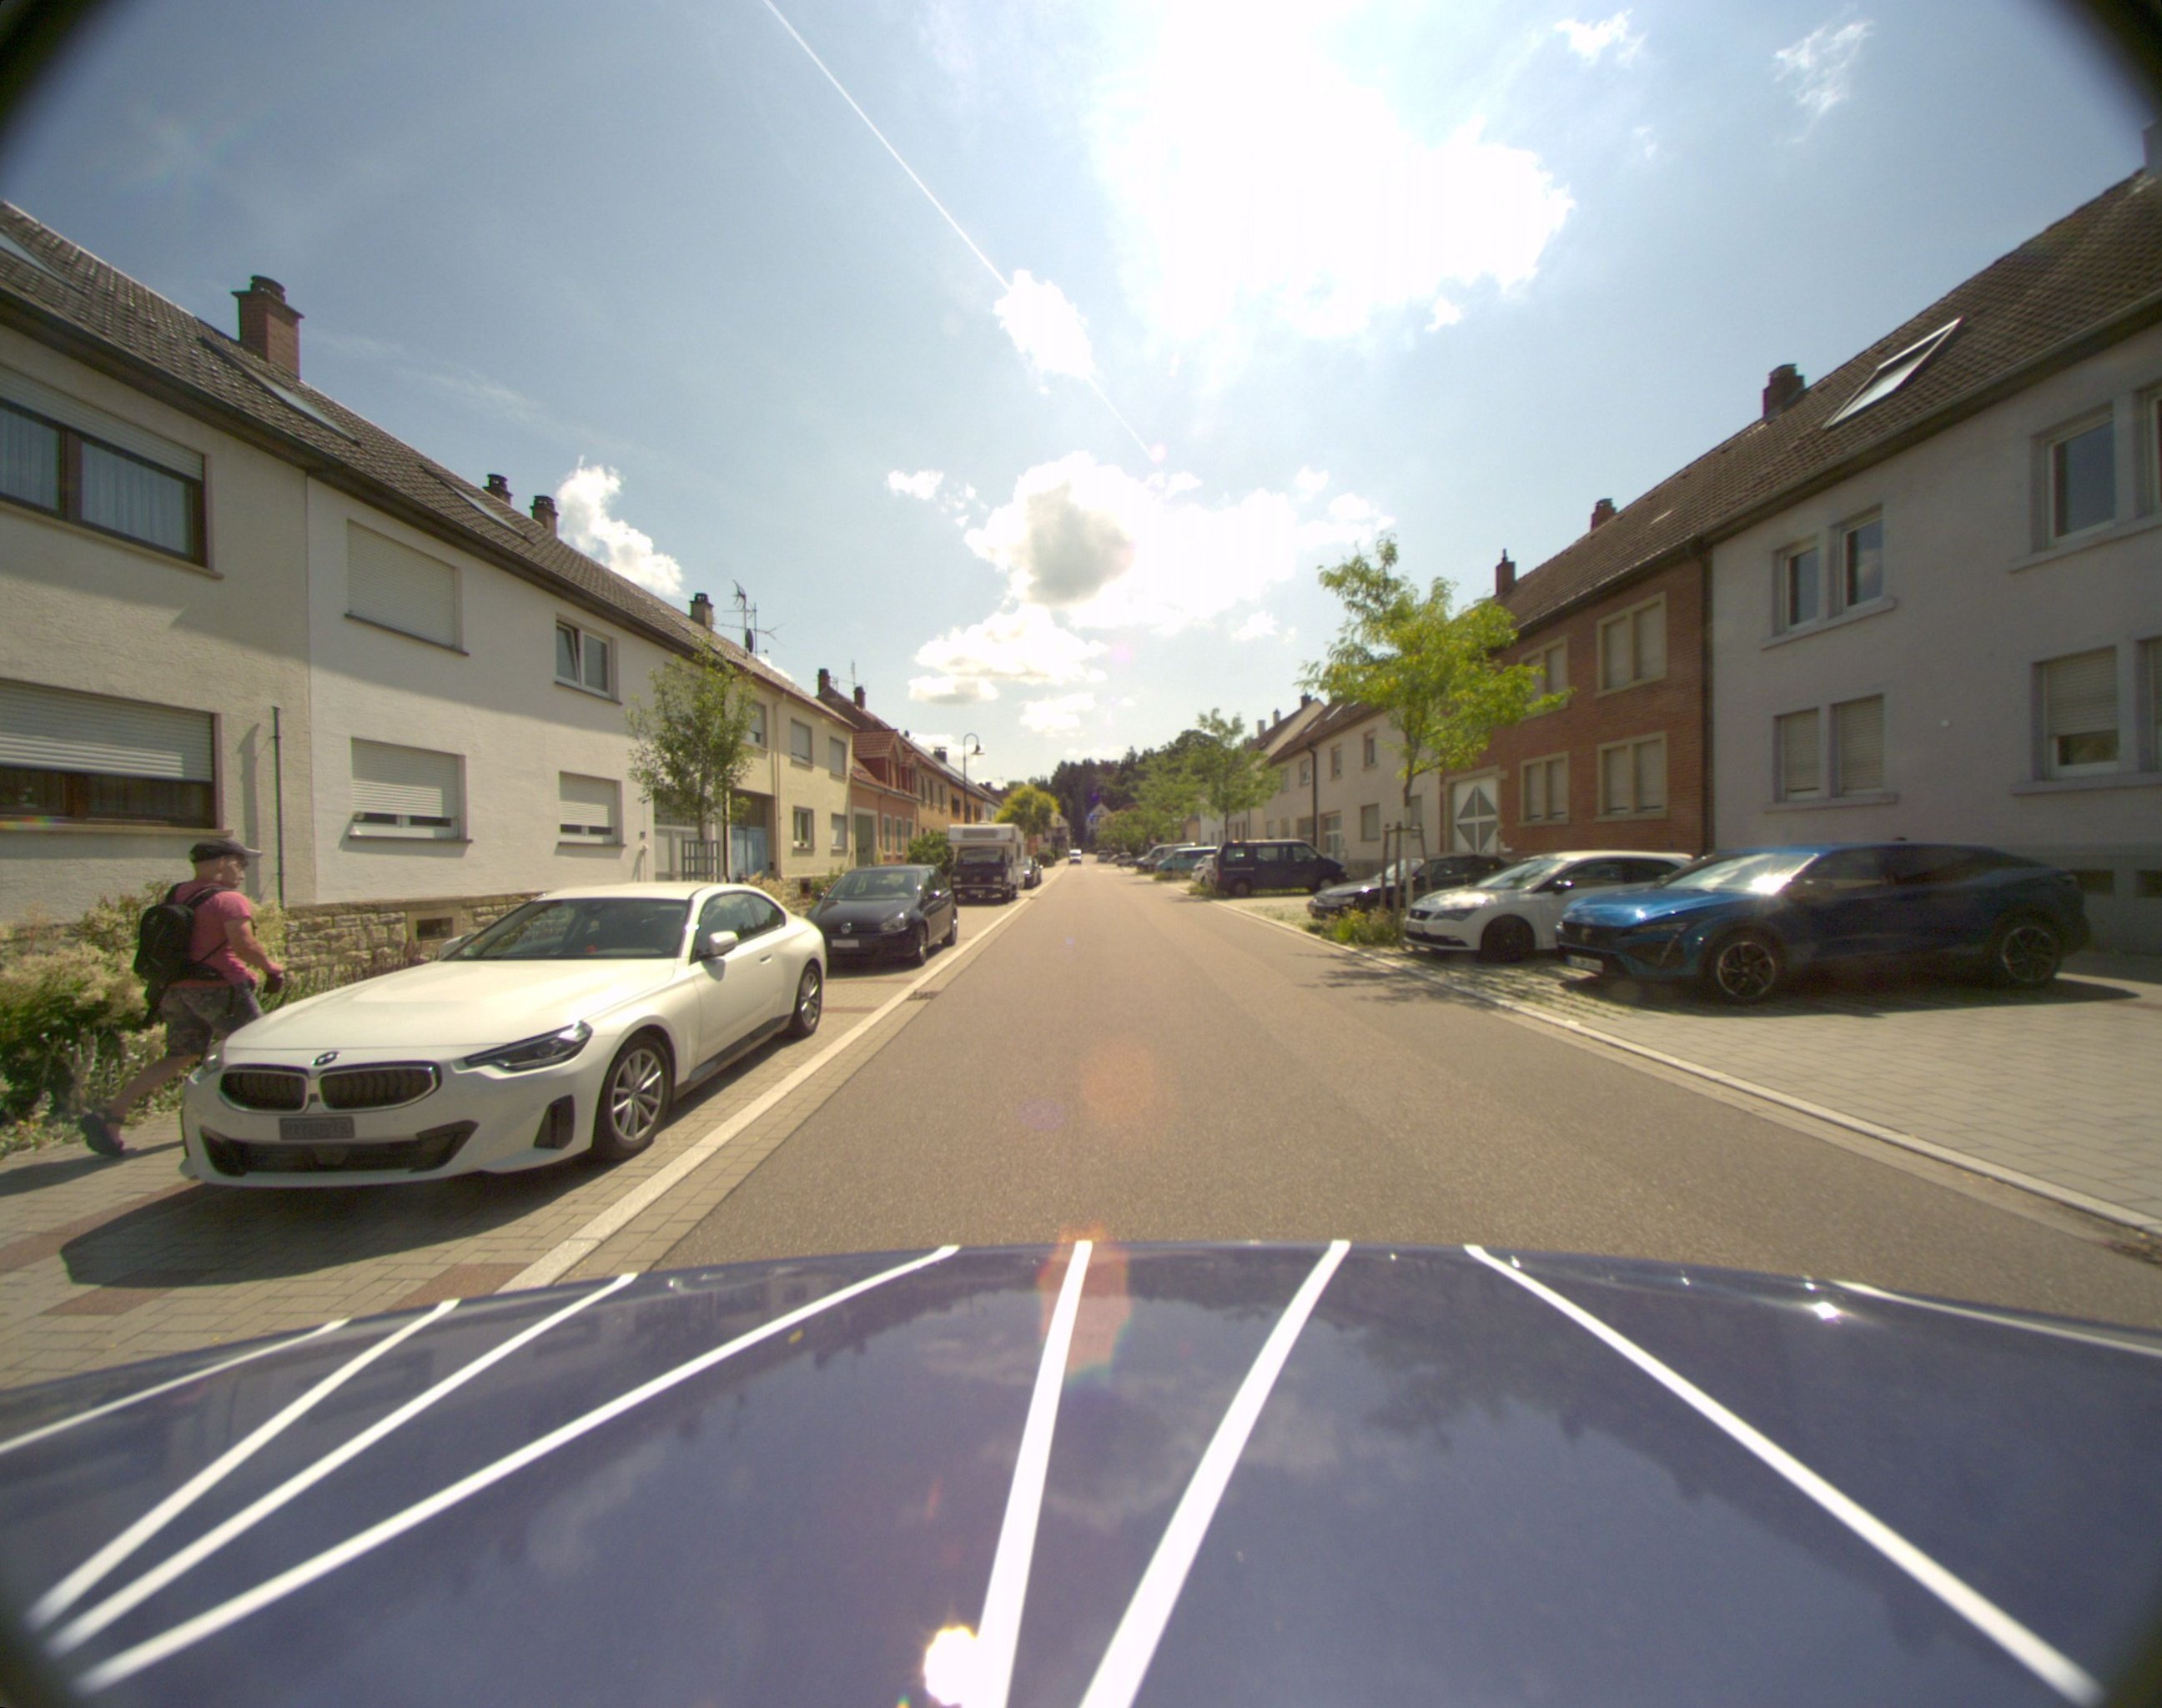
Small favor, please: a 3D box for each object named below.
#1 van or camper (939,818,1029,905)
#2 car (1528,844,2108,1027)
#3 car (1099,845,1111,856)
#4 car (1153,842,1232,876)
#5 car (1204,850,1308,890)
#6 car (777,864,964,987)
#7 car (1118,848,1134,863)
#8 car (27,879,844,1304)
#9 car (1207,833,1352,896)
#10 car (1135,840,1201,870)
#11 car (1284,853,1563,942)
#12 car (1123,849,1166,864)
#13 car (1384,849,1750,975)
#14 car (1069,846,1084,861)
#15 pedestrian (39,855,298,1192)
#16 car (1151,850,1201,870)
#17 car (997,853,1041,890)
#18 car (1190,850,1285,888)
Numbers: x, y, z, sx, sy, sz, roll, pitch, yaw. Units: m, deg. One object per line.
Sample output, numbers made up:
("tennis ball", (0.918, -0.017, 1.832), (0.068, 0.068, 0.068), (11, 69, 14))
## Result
("van or camper", (-3.336, 0.247, 27.394), (2.479, 2.793, 5.790), (0, 0, 0))
("car", (7.350, 0.732, 7.872), (4.416, 1.469, 1.775), (-2, 1, -3))
("car", (4.480, -0.605, 142.623), (1.999, 1.968, 3.999), (-1, 1, 0))
("car", (7.023, 0.302, 48.273), (4.688, 1.896, 2.000), (-3, 1, 1))
("car", (7.230, 0.653, 31.670), (3.925, 1.480, 1.773), (-2, 1, 2))
("car", (-3.110, 0.983, 12.120), (1.771, 1.521, 4.007), (-2, 0, 1))
("car", (5.797, 0.229, 98.323), (1.844, 1.737, 4.687), (-3, -1, 2))
("car", (-3.243, 1.010, 5.272), (1.837, 1.457, 4.519), (-2, 0, -1))
("car", (6.982, 0.359, 27.101), (4.624, 1.985, 1.953), (-2, 1, 2))
("car", (7.352, 0.102, 64.630), (5.180, 2.275, 2.157), (-3, 1, -2))
("car", (6.431, 0.780, 14.633), (4.535, 1.417, 1.795), (-2, 1, 0))
("car", (7.189, 0.289, 86.424), (4.598, 1.508, 1.901), (-2, 1, 0))
("car", (6.712, 0.750, 10.800), (4.064, 1.469, 1.775), (-2, 1, -2))
("car", (-0.747, -0.148, 127.967), (2.489, 2.306, 5.599), (-3, 1, 0))
("pedestrian", (-5.063, 0.882, 4.265), (0.558, 1.739, 0.673), (-1, 1, 1))
("car", (7.600, 0.485, 60.909), (3.792, 1.377, 1.725), (-3, 1, 1))
("car", (-3.037, 0.807, 38.017), (1.771, 1.695, 4.324), (-2, 0, 1))
("car", (7.014, 0.652, 34.268), (3.925, 1.480, 1.773), (-2, 1, 2))
